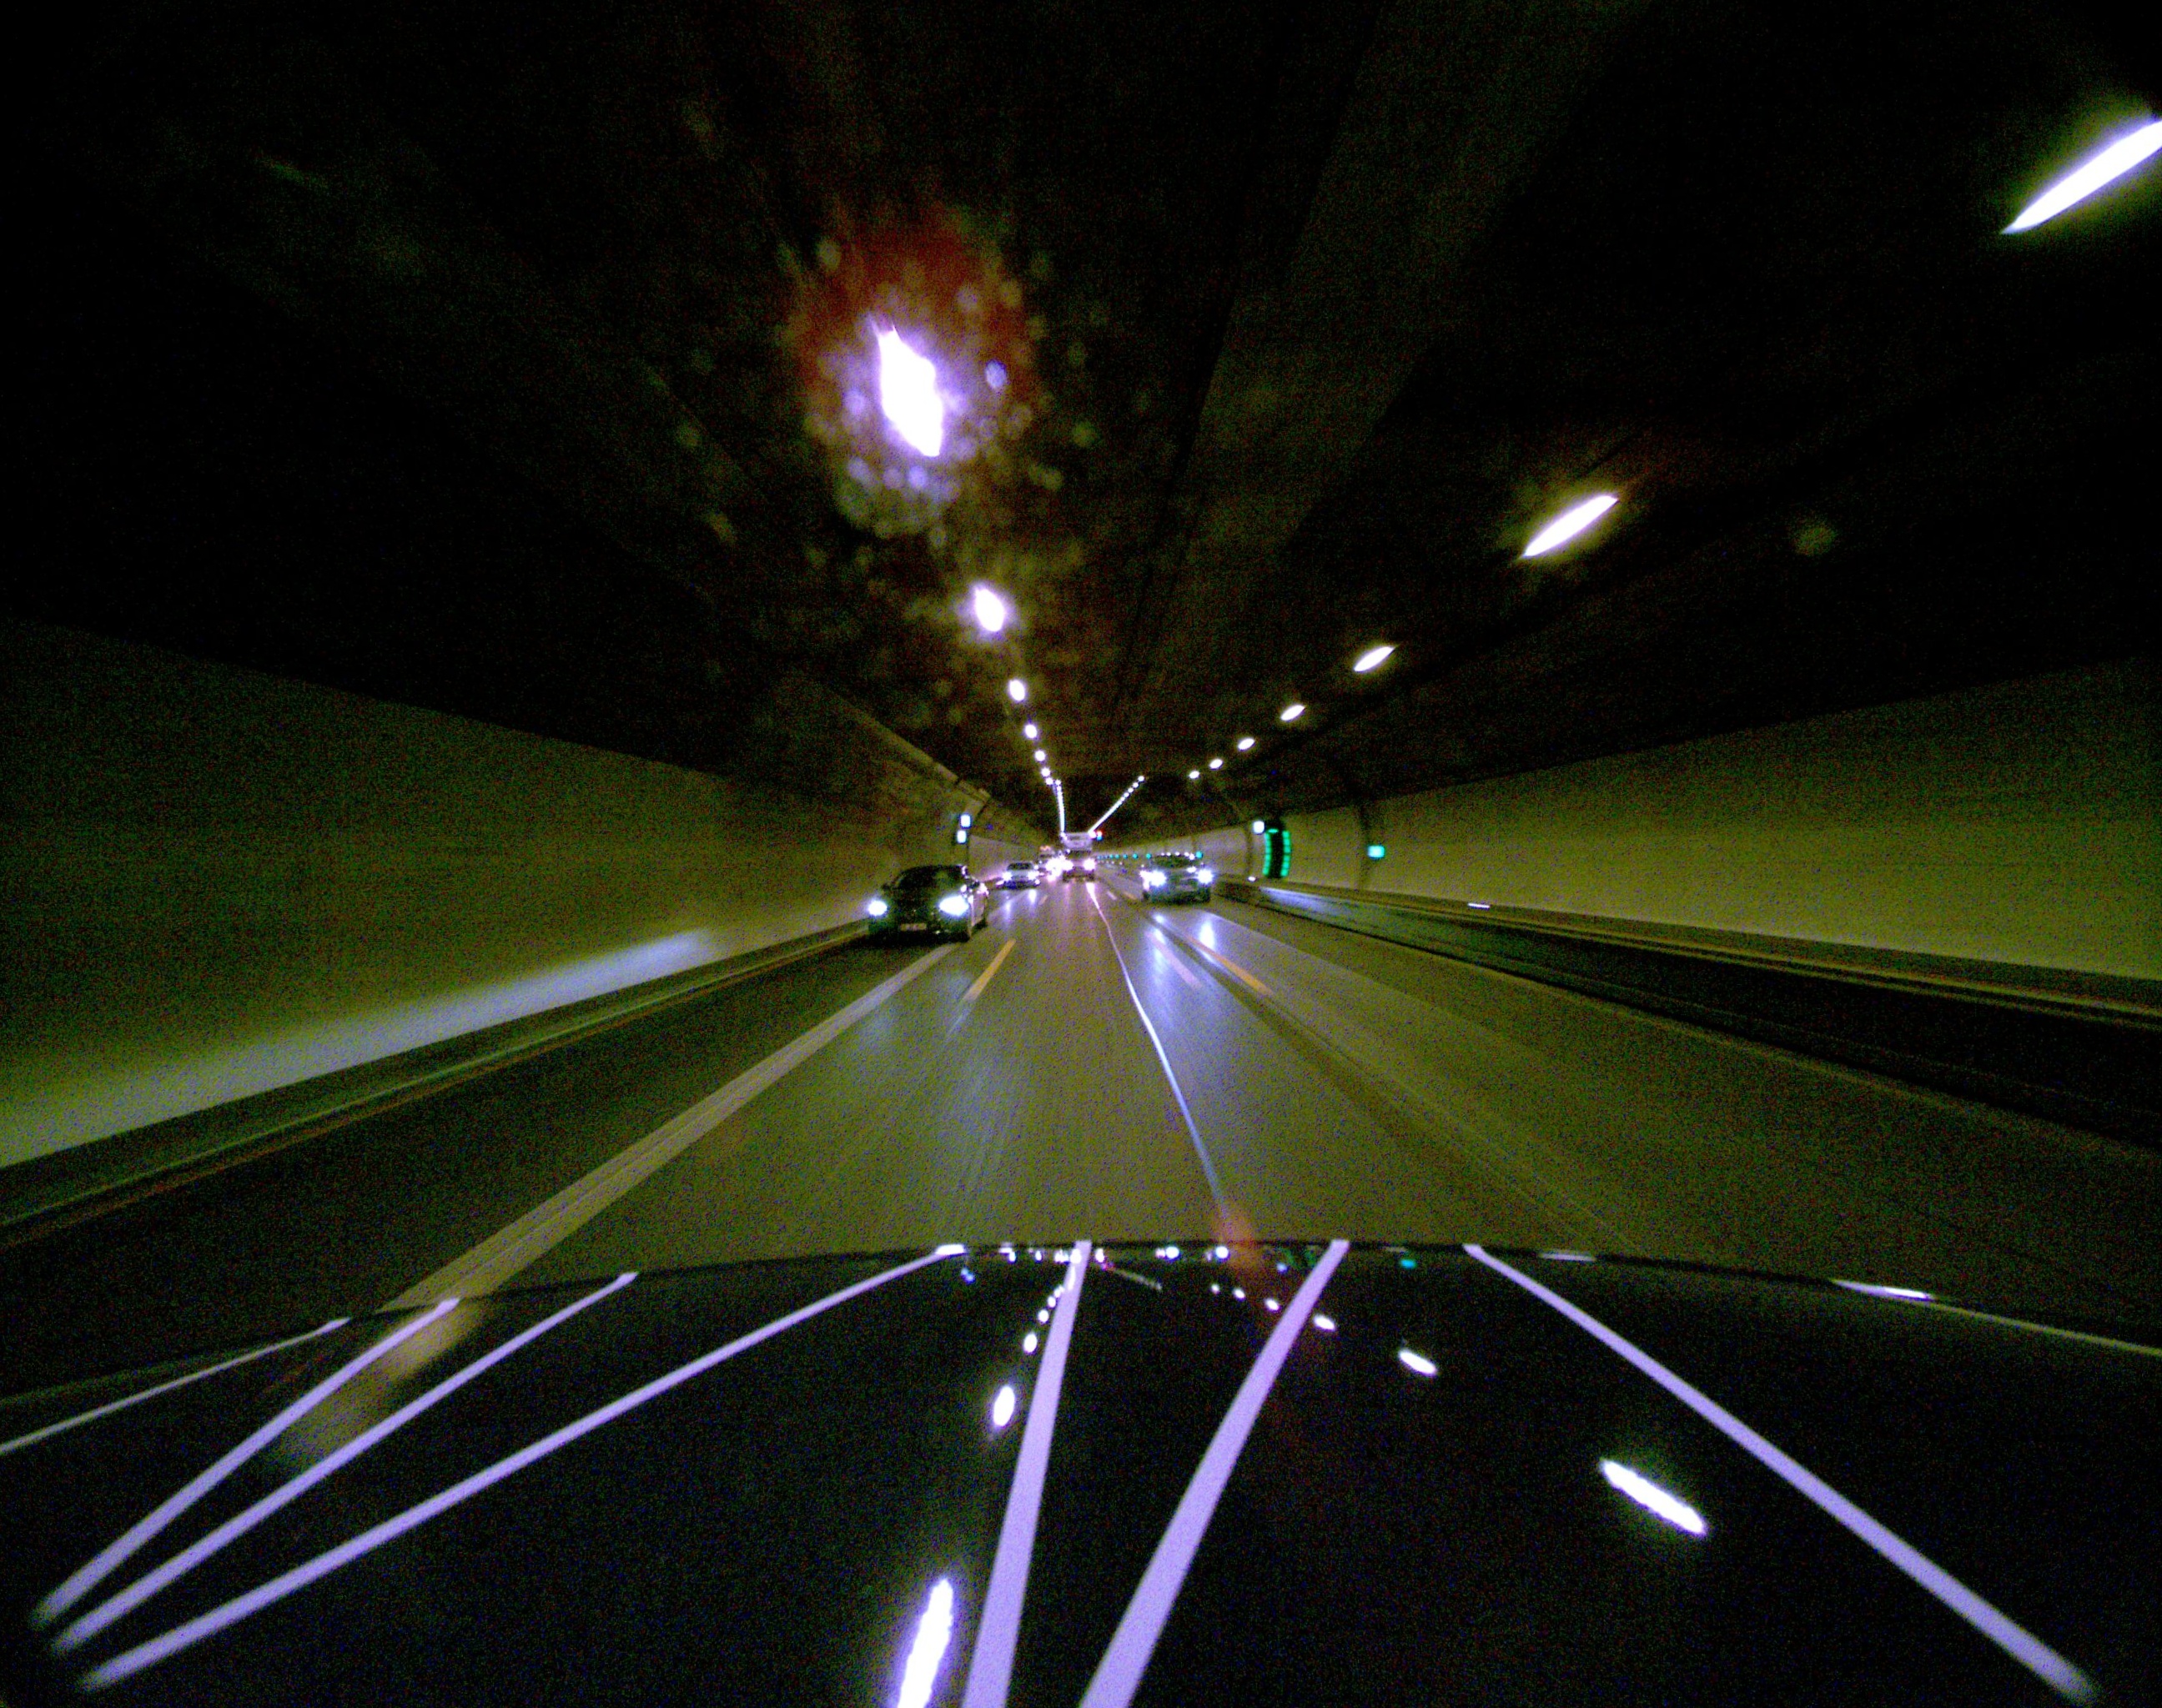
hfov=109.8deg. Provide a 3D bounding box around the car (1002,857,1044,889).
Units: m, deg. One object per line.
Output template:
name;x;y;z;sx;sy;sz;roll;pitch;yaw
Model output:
car;-3.130;1.004;41.709;1.999;1.531;4.741;-1;0;-1

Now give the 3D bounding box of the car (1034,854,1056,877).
car;-3.386;1.056;72.291;1.999;2.002;4.853;-1;0;-2

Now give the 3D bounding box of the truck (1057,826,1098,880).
truck;-0.260;-0.049;51.712;2.533;3.314;7.715;-1;0;-1

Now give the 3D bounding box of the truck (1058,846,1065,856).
truck;-6.633;-0.987;260.914;2.208;3.449;11.764;-1;0;-1

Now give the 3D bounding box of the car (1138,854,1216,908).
car;3.035;0.791;25.020;1.998;1.531;4.742;-1;0;1

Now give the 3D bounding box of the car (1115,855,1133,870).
car;4.954;0.940;87.367;1.998;1.531;4.851;-1;0;3

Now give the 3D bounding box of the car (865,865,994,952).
car;-2.989;1.016;15.915;1.826;1.469;4.521;-1;0;-1

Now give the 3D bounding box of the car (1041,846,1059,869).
car;-3.877;0.391;95.675;1.999;2.710;6.273;-1;0;-1
